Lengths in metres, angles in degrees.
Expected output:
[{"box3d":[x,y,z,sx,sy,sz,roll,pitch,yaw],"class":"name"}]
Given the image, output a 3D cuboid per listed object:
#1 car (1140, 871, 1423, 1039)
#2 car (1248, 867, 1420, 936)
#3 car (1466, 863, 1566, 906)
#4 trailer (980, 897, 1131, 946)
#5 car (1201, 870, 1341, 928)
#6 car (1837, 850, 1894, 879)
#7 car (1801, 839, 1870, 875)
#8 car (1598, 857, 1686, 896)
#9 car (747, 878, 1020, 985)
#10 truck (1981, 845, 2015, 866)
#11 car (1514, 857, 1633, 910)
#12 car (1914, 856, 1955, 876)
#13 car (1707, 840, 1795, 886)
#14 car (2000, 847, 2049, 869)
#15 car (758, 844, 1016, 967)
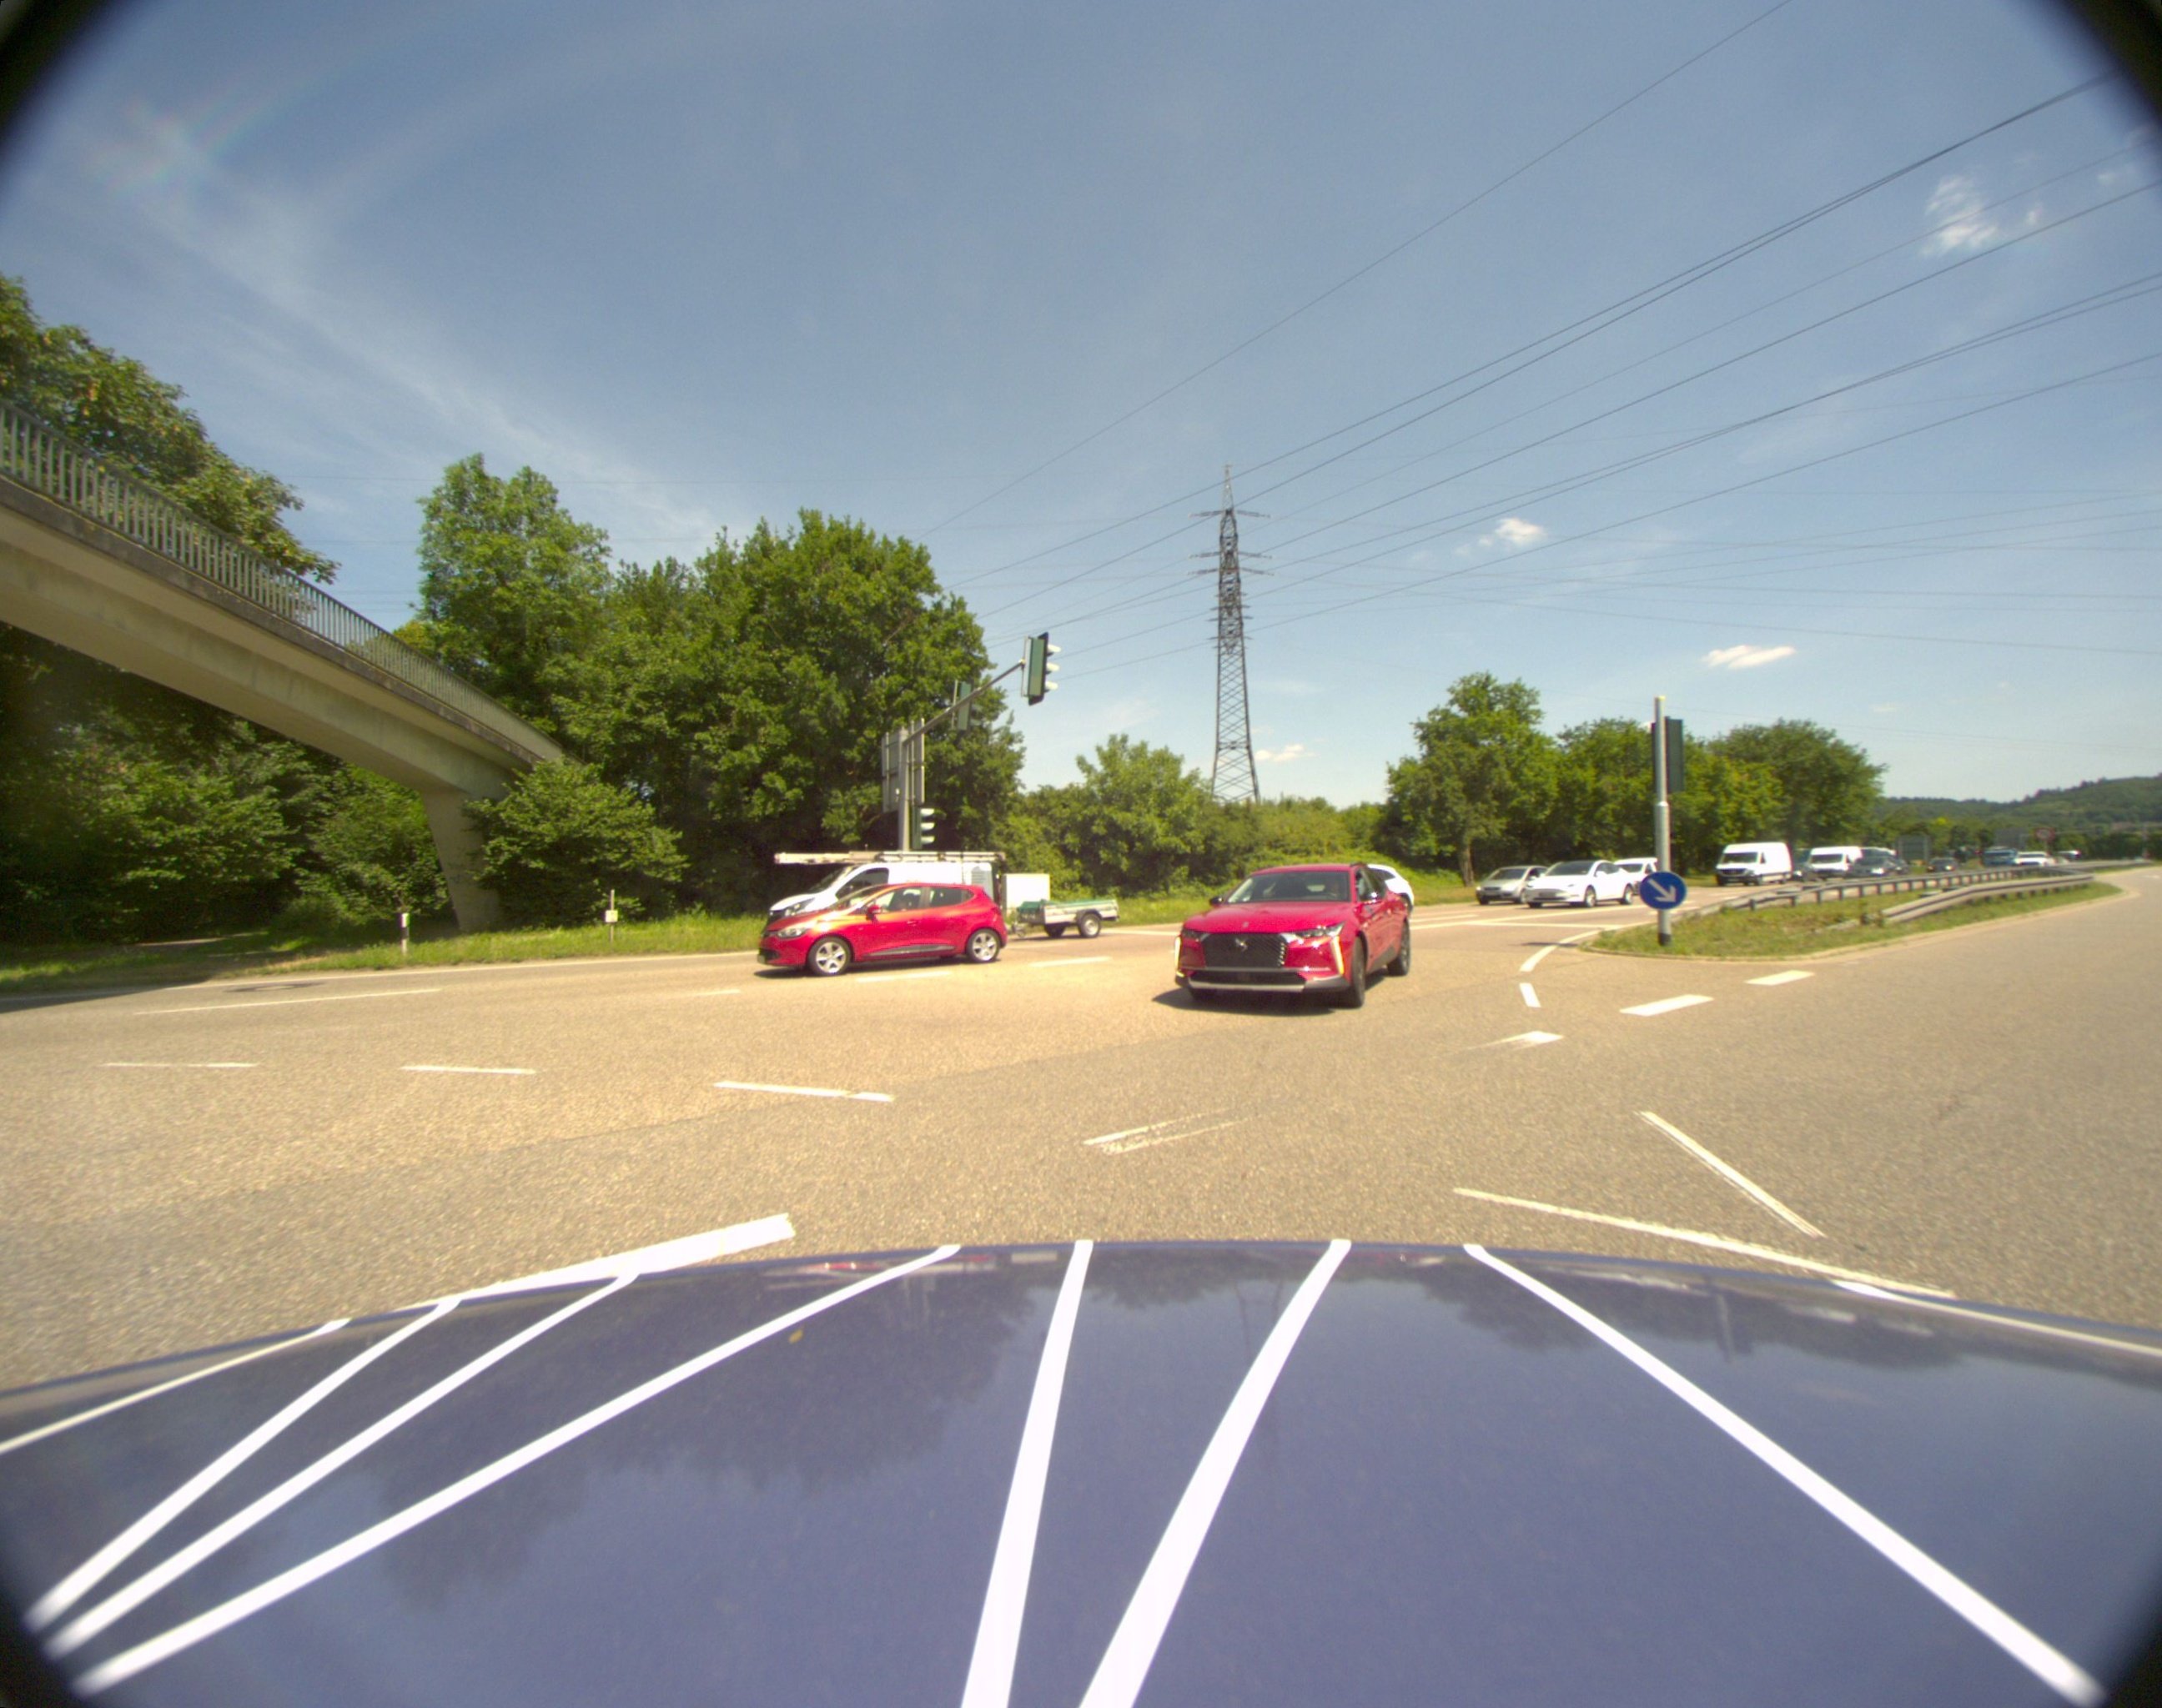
[{"box3d":[2.617,0.975,9.006,1.843,1.452,4.424,-4,-3,34],"class":"car"},{"box3d":[6.589,1.174,19.648,4.371,1.558,1.848,0,-3,-33],"class":"car"},{"box3d":[17.977,1.249,31.325,4.280,1.584,1.745,0,-3,-33],"class":"car"},{"box3d":[-0.623,1.634,18.986,3.329,1.000,1.708,0,-3,-33],"class":"trailer"},{"box3d":[5.865,1.322,23.294,4.172,1.586,1.766,0,-2,-33],"class":"car"},{"box3d":[49.673,0.650,48.094,4.007,1.673,1.875,-1,-2,-35],"class":"car"},{"box3d":[55.708,0.209,56.061,5.824,2.407,2.305,-1,-3,-33],"class":"car"},{"box3d":[28.050,1.092,37.938,5.046,1.789,1.807,0,-3,-33],"class":"car"},{"box3d":[-3.260,1.202,12.824,4.072,1.452,1.745,0,-3,-35],"class":"car"},{"box3d":[112.761,0.152,93.408,4.919,2.426,2.167,-1,-2,-35],"class":"truck"},{"box3d":[17.158,1.026,26.431,4.007,1.671,2.019,0,-3,-35],"class":"car"},{"box3d":[83.784,1.196,74.611,4.007,1.807,1.996,-1,-2,-33],"class":"car"},{"box3d":[41.351,0.538,46.831,7.031,2.590,2.229,0,-3,-33],"class":"car"},{"box3d":[76.535,0.307,61.597,4.007,1.752,1.995,0,-1,-32],"class":"car"},{"box3d":[-4.164,1.010,16.669,5.084,2.334,1.935,-1,-3,-33],"class":"car"}]
